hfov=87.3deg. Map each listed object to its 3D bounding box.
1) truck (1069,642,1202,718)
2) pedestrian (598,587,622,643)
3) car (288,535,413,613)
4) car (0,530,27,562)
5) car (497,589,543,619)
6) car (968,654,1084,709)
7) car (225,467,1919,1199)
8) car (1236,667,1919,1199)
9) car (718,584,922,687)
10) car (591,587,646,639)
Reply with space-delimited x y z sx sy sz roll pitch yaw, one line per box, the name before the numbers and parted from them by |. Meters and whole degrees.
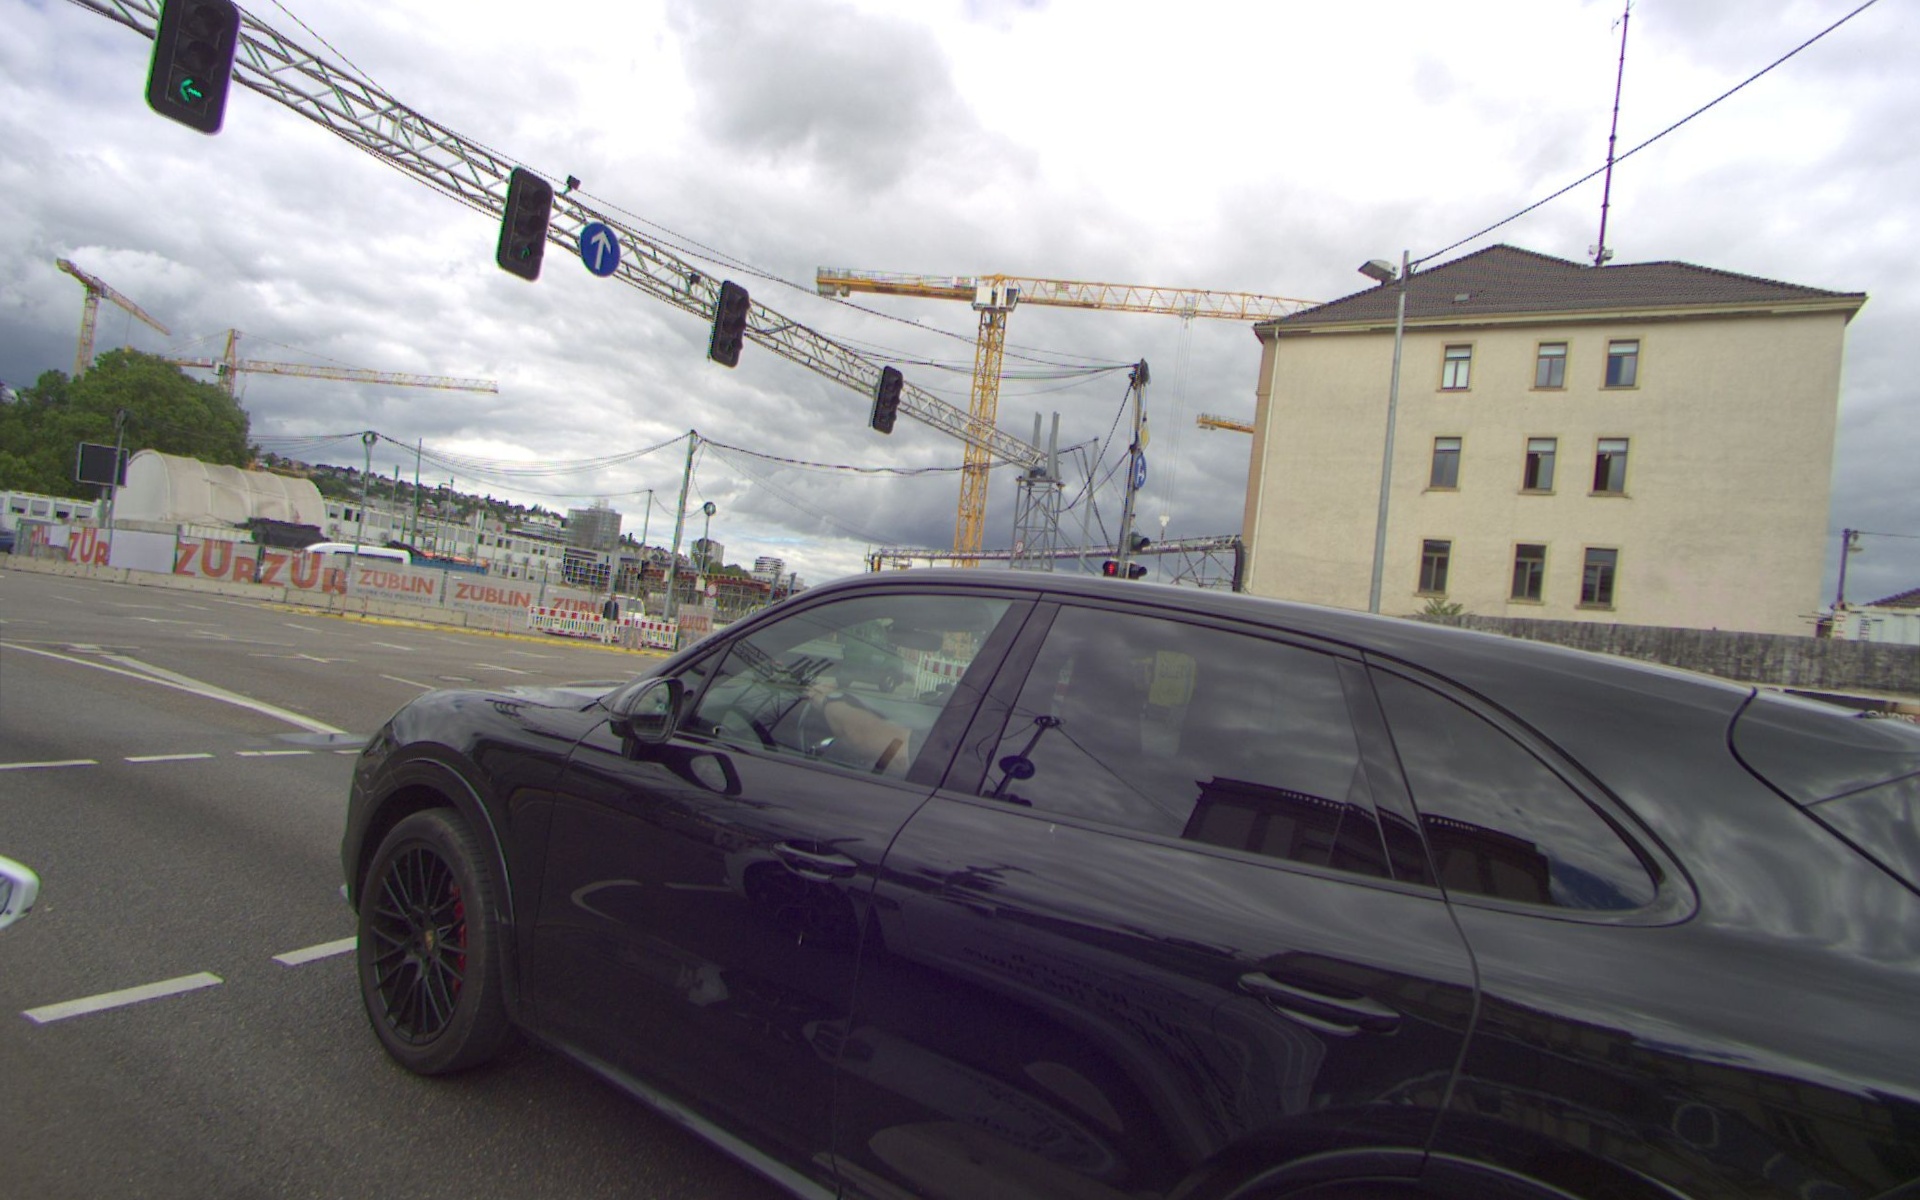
truck | 8.319 3.806 46.541 2.584 2.835 8.997 6 -3 33
pedestrian | -12.939 0.543 37.160 0.579 1.999 0.433 7 -1 -16
car | -25.261 -1.050 41.774 3.977 2.692 1.661 9 -2 -44
car | -54.371 -3.209 55.331 1.788 1.643 4.005 6 -2 14
car | -27.753 0.263 63.387 1.667 1.545 3.962 8 -2 -36
car | 2.522 3.033 37.036 1.988 1.643 4.814 5 -3 34
car | -0.002 0.678 2.893 4.412 1.735 1.827 5 -2 33
car | 3.522 1.381 4.564 3.935 1.644 1.678 5 -2 33
car | -3.839 1.097 28.785 2.268 2.331 5.764 5 -3 35
car | -14.796 0.532 43.477 1.756 1.976 3.110 7 -2 -24
